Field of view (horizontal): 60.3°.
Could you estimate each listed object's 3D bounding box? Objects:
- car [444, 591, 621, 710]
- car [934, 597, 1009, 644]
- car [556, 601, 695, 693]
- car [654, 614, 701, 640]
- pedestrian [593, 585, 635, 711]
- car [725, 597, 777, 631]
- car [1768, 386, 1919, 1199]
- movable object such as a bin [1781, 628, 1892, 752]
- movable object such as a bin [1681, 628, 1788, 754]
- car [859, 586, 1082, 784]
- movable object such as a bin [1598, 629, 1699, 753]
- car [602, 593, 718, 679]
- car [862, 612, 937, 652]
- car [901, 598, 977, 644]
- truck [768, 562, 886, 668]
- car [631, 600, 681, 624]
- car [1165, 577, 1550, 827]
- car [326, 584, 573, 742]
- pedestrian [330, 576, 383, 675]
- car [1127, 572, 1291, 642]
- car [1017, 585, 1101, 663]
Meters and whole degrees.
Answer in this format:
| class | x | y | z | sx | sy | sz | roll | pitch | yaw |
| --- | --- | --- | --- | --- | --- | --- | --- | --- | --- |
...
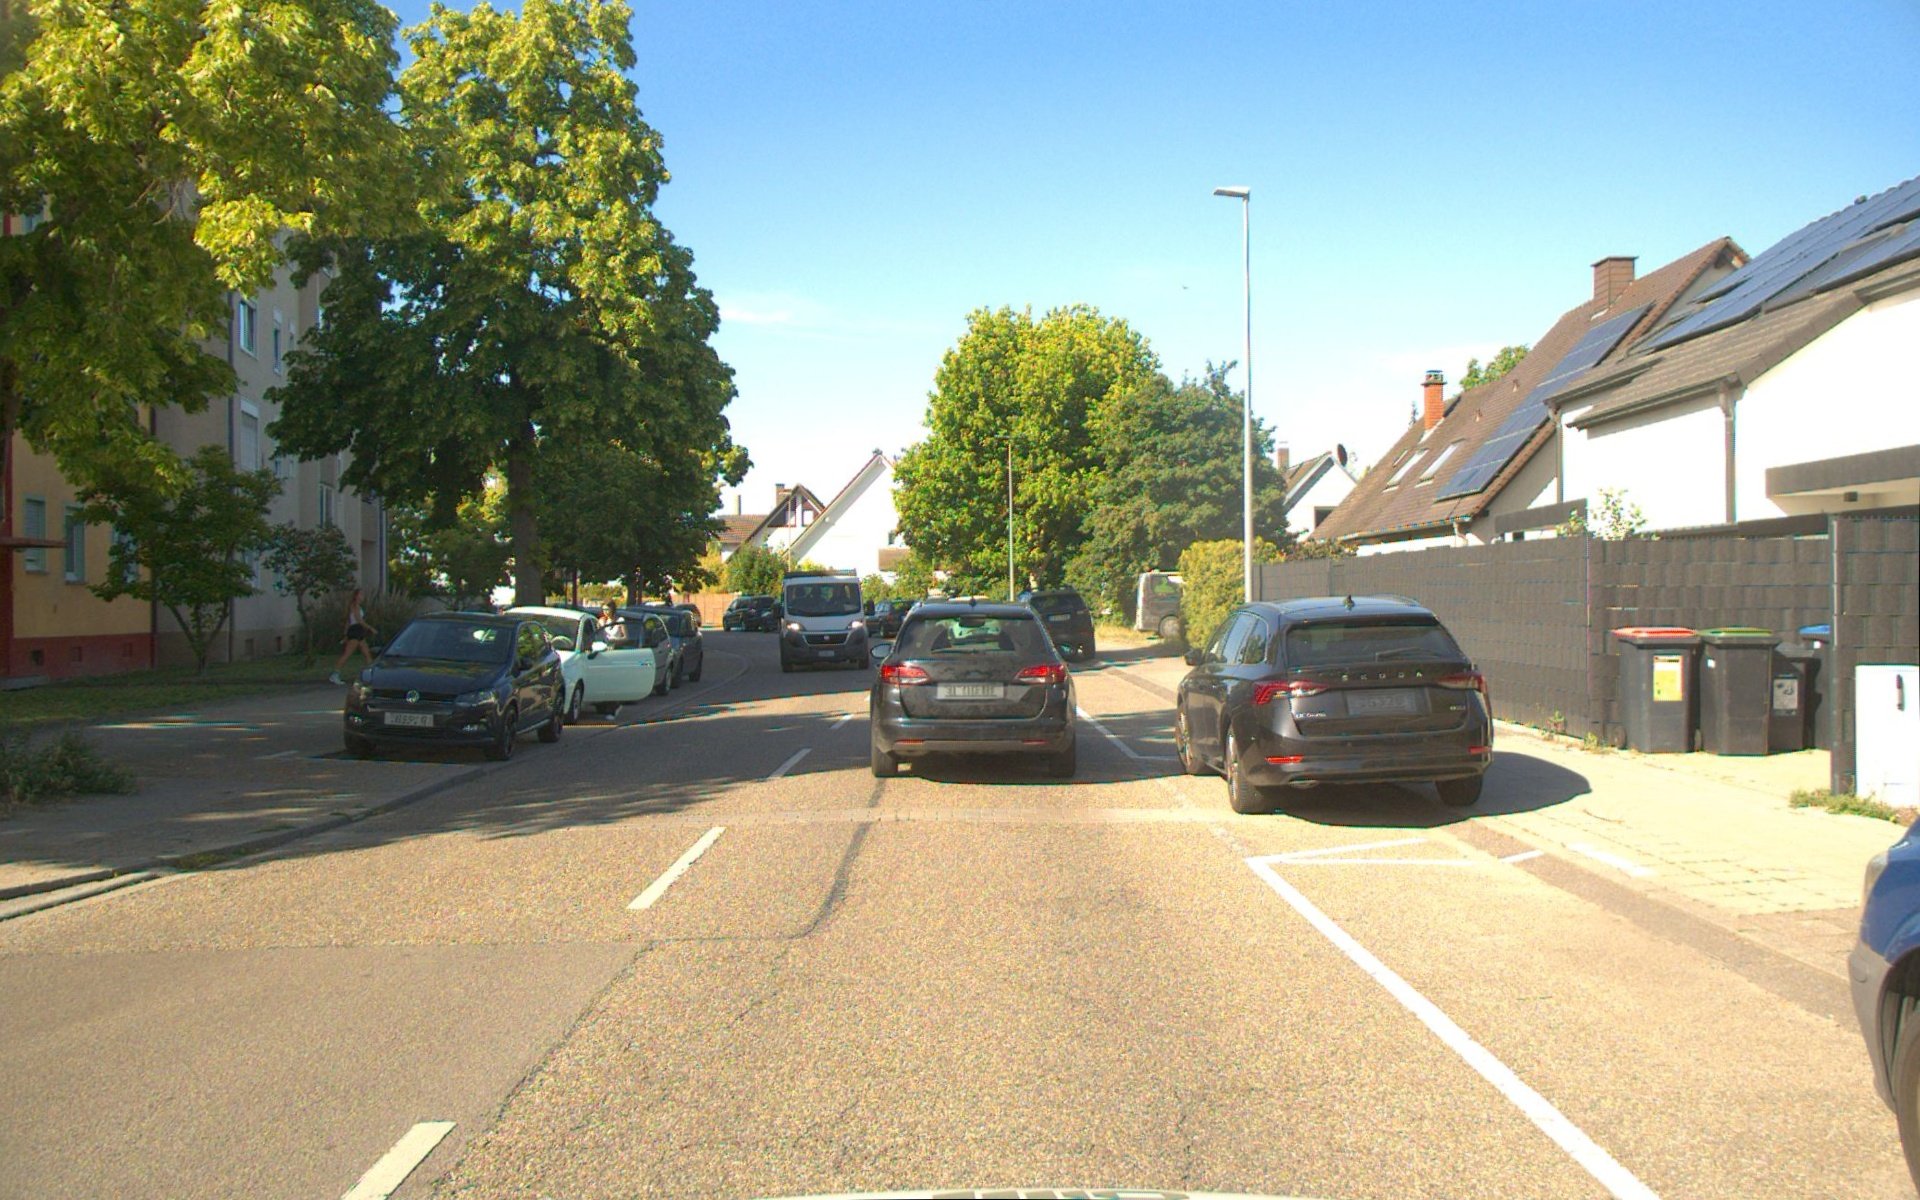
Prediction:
| class | x | y | z | sx | sy | sz | roll | pitch | yaw |
| --- | --- | --- | --- | --- | --- | --- | --- | --- | --- |
| car | -6.075 | 0.733 | 23.928 | 1.666 | 1.550 | 4.049 | -1 | -2 | -3 |
| car | 0.342 | 0.707 | 55.560 | 1.729 | 1.506 | 4.282 | 0 | -1 | -11 |
| car | -5.998 | 0.827 | 30.075 | 1.623 | 1.536 | 4.000 | 1 | -1 | 1 |
| car | -16.518 | 1.577 | 96.643 | 1.889 | 1.432 | 4.266 | 0 | -1 | -21 |
| pedestrian | -5.012 | 0.695 | 23.960 | 0.494 | 1.792 | 0.694 | 0 | -3 | -4 |
| car | -10.720 | 0.716 | 84.587 | 1.874 | 1.695 | 4.168 | 0 | -1 | -19 |
| car | 3.106 | 0.478 | 2.158 | 1.799 | 1.941 | 4.697 | 1 | 0 | 0 |
| movable object such as a bin | 7.703 | 0.787 | 14.555 | 0.582 | 1.058 | 0.704 | 0 | -3 | 1 |
| movable object such as a bin | 6.654 | 0.779 | 14.238 | 0.582 | 1.058 | 0.704 | 0 | -3 | 1 |
| car | 0.062 | 0.708 | 15.175 | 1.726 | 1.517 | 4.290 | 1 | -1 | -1 |
| movable object such as a bin | 6.027 | 0.790 | 14.498 | 0.582 | 1.058 | 0.704 | 0 | -3 | 1 |
| car | -6.116 | 0.707 | 34.133 | 1.536 | 1.556 | 3.918 | 4 | 0 | 0 |
| car | -2.429 | 1.265 | 65.393 | 1.973 | 1.501 | 4.274 | 0 | -1 | -16 |
| car | -0.805 | 0.765 | 60.318 | 1.879 | 1.628 | 4.279 | 0 | -1 | -13 |
| truck | -3.156 | 0.375 | 40.677 | 2.085 | 2.375 | 6.444 | -1 | -1 | 2 |
| car | -18.931 | 0.762 | 102.814 | 1.894 | 1.432 | 4.255 | 0 | -1 | -28 |
| car | 2.747 | 0.626 | 12.638 | 1.729 | 1.506 | 4.991 | -1 | 0 | 0 |
| car | -5.520 | 0.699 | 18.406 | 1.667 | 1.506 | 4.048 | 2 | -2 | -4 |
| pedestrian | -10.799 | 0.470 | 29.608 | 0.671 | 1.748 | 0.720 | 0 | -3 | -1 |
| car | 7.395 | 0.229 | 49.477 | 4.585 | 2.018 | 2.142 | 0 | -1 | -1 |
| car | 2.319 | 0.578 | 39.646 | 1.741 | 1.754 | 4.293 | 0 | -1 | 0 |
